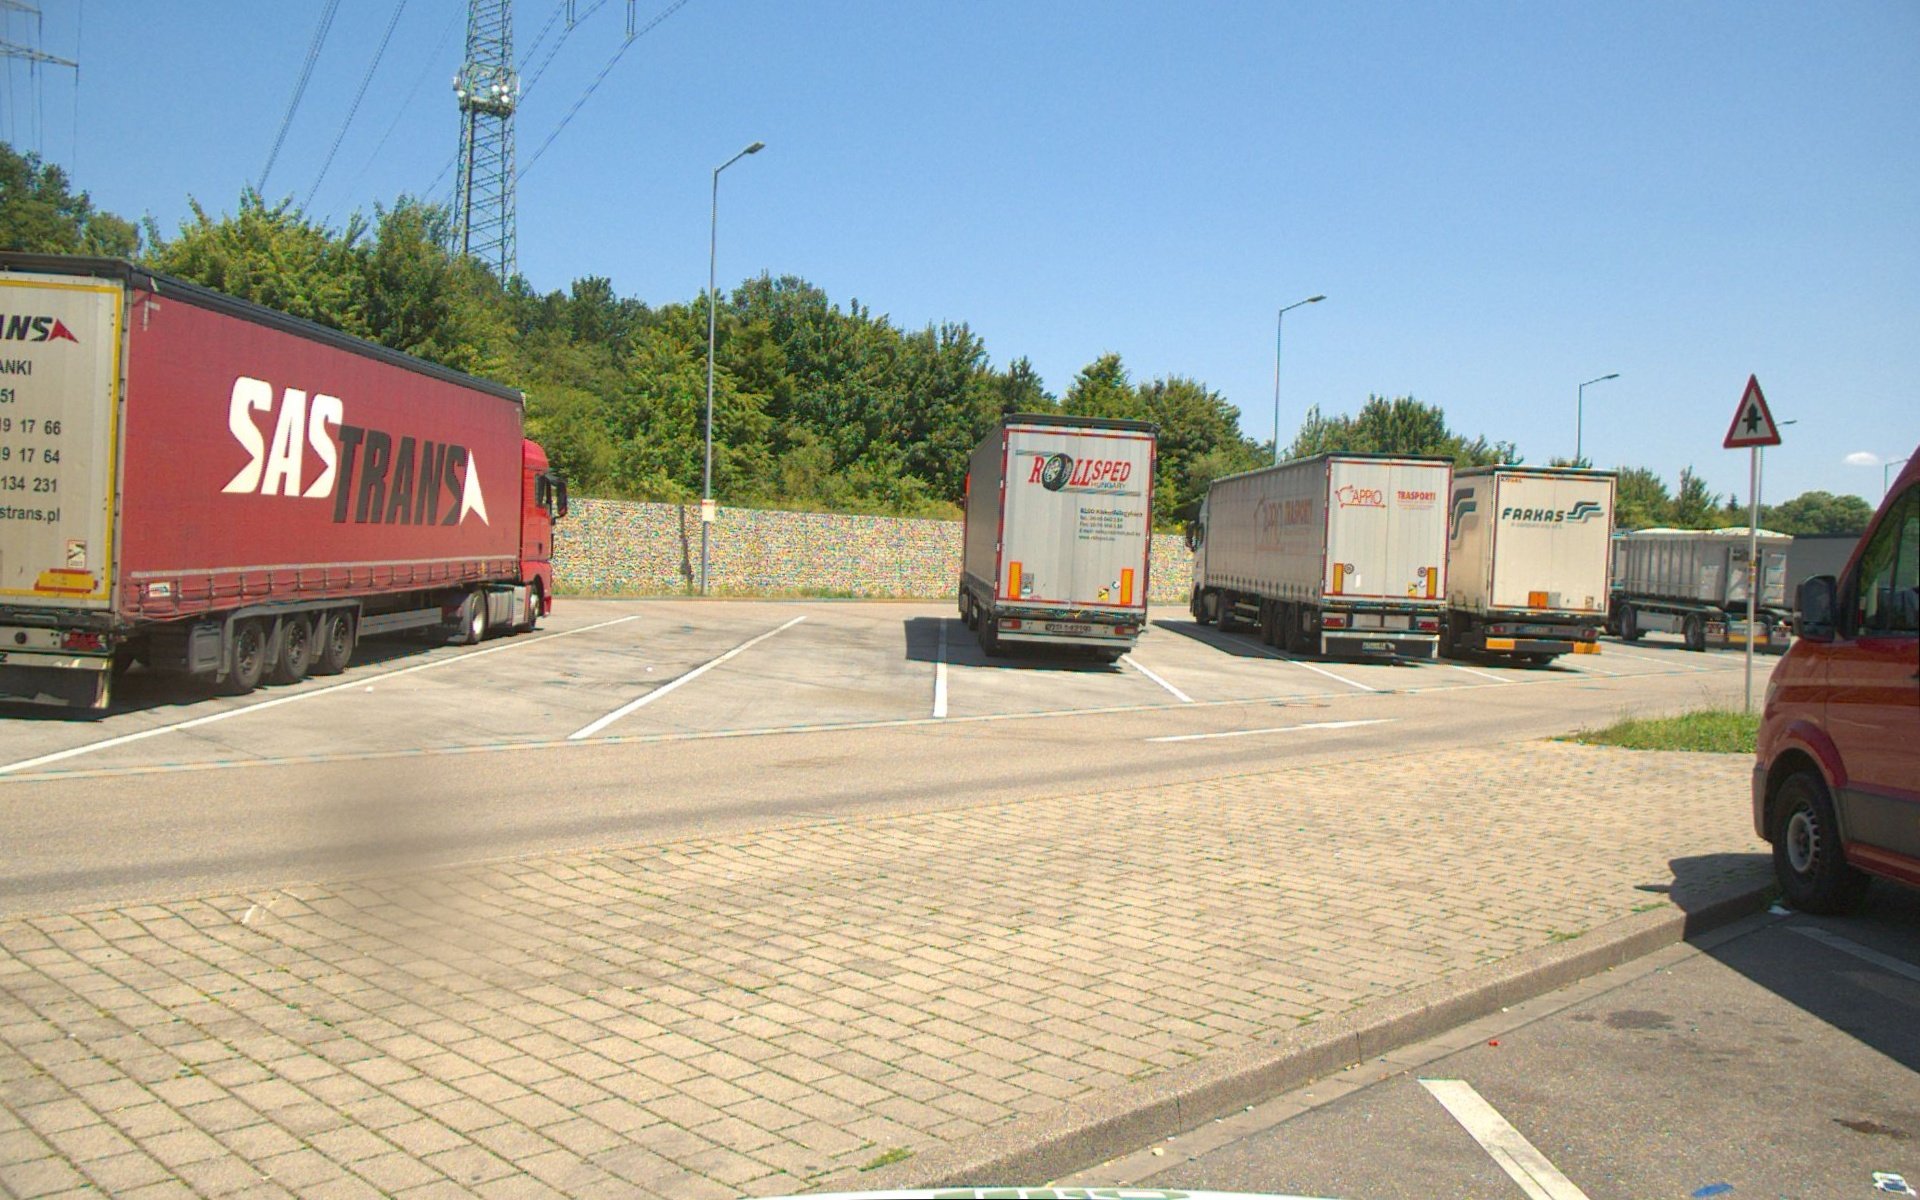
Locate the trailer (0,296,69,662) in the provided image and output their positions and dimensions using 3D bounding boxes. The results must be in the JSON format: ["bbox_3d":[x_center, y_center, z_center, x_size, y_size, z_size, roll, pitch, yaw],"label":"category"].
[{"bbox_3d":[-12.519,-1.308,15.695,2.673,4.282,10.170,2,2,-1],"label":"trailer"}]

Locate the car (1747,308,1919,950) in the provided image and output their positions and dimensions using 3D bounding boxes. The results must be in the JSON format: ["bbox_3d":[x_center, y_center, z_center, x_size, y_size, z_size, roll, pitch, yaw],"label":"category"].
[{"bbox_3d":[5.016,0.159,5.551,2.023,2.742,6.397,1,1,4],"label":"car"}]

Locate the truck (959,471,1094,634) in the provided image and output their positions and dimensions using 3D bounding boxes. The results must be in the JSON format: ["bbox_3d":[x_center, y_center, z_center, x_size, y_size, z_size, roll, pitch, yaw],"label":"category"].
[{"bbox_3d":[1.487,-1.144,39.840,2.794,3.544,5.482,2,2,-1],"label":"truck"}]

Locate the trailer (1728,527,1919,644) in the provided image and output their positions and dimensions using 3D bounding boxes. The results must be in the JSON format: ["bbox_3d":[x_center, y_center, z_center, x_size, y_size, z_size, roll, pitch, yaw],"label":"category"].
[{"bbox_3d":[34.946,-0.652,65.403,2.780,4.119,13.726,2,2,1],"label":"trailer"}]

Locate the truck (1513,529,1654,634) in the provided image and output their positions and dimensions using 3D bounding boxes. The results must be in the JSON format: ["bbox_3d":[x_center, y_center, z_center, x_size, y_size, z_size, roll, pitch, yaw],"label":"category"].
[{"bbox_3d":[22.014,-0.720,58.703,2.794,3.423,5.484,2,2,0],"label":"truck"}]

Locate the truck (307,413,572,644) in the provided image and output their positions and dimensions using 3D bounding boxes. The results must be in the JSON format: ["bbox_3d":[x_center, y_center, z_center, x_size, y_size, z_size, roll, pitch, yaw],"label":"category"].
[{"bbox_3d":[-8.787,-1.205,28.614,2.794,3.487,5.482,2,2,-1],"label":"truck"}]

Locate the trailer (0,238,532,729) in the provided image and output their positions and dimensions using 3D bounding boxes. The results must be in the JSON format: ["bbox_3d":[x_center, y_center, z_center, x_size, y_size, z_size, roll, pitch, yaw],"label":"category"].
[{"bbox_3d":[-8.674,-1.297,21.178,2.848,4.203,13.723,2,2,-1],"label":"trailer"}]

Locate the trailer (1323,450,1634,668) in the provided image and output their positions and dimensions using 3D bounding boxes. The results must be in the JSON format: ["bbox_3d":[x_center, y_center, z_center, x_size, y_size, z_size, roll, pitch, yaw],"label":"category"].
[{"bbox_3d":[11.776,-1.021,39.624,2.781,4.204,13.722,2,2,-1],"label":"trailer"}]

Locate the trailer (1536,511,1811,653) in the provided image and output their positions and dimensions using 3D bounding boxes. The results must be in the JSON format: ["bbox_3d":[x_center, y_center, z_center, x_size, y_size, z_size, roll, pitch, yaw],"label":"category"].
[{"bbox_3d":[21.933,-0.690,52.199,2.780,3.781,13.726,2,2,1],"label":"trailer"}]

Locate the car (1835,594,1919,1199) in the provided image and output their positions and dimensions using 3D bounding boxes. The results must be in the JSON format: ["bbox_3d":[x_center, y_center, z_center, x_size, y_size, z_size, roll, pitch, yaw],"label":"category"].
[{"bbox_3d":[2.604,0.793,1.147,1.703,1.508,3.813,1,1,-6],"label":"car"}]

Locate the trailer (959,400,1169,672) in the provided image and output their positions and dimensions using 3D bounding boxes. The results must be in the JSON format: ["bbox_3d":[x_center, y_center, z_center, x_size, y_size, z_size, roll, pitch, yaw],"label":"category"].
[{"bbox_3d":[1.655,-1.232,33.231,2.848,4.204,13.720,2,2,-1],"label":"trailer"}]

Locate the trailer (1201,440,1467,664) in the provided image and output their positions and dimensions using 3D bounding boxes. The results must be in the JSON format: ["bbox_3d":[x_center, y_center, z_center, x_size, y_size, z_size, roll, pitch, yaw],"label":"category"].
[{"bbox_3d":[8.216,-1.141,38.819,2.781,4.204,13.722,2,2,-1],"label":"trailer"}]

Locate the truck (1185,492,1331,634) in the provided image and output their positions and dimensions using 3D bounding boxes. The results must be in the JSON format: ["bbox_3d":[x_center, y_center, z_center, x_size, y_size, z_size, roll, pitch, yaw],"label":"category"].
[{"bbox_3d":[8.102,-1.040,45.629,2.794,3.544,5.482,2,2,-1],"label":"truck"}]
